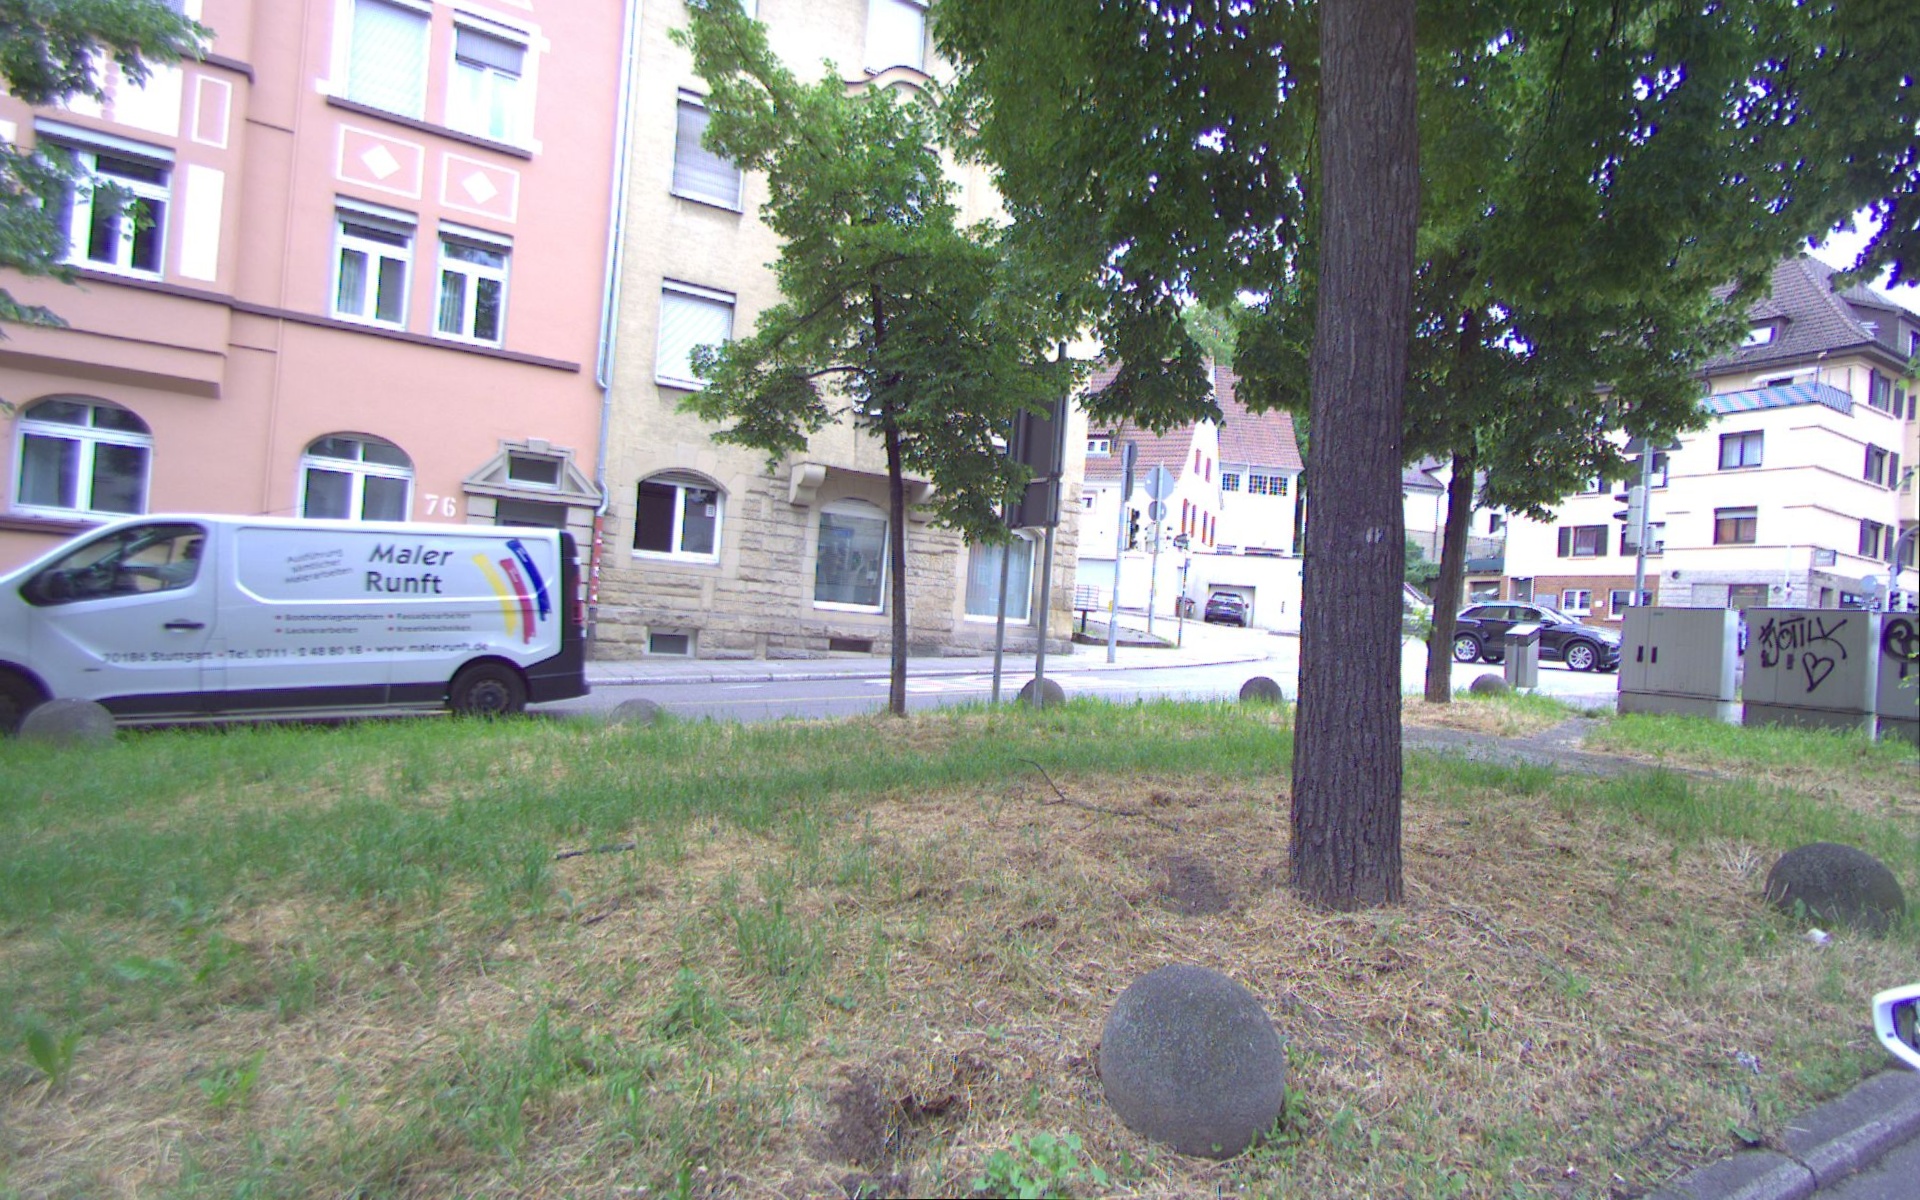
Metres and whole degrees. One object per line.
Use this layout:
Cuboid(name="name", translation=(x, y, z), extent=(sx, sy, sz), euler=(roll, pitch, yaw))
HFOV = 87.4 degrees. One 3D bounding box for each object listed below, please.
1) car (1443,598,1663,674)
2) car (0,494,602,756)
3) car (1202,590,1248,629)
Cuboid(name="car", translation=(14.105, 0.812, 24.100), extent=(1.653, 1.541, 4.201), euler=(2, 0, -40))
Cuboid(name="car", translation=(-6.215, 0.198, 9.254), extent=(5.243, 1.971, 1.984), euler=(1, 1, -30))
Cuboid(name="car", translation=(11.775, 0.376, 44.822), extent=(1.638, 1.424, 3.058), euler=(7, 3, 11))
